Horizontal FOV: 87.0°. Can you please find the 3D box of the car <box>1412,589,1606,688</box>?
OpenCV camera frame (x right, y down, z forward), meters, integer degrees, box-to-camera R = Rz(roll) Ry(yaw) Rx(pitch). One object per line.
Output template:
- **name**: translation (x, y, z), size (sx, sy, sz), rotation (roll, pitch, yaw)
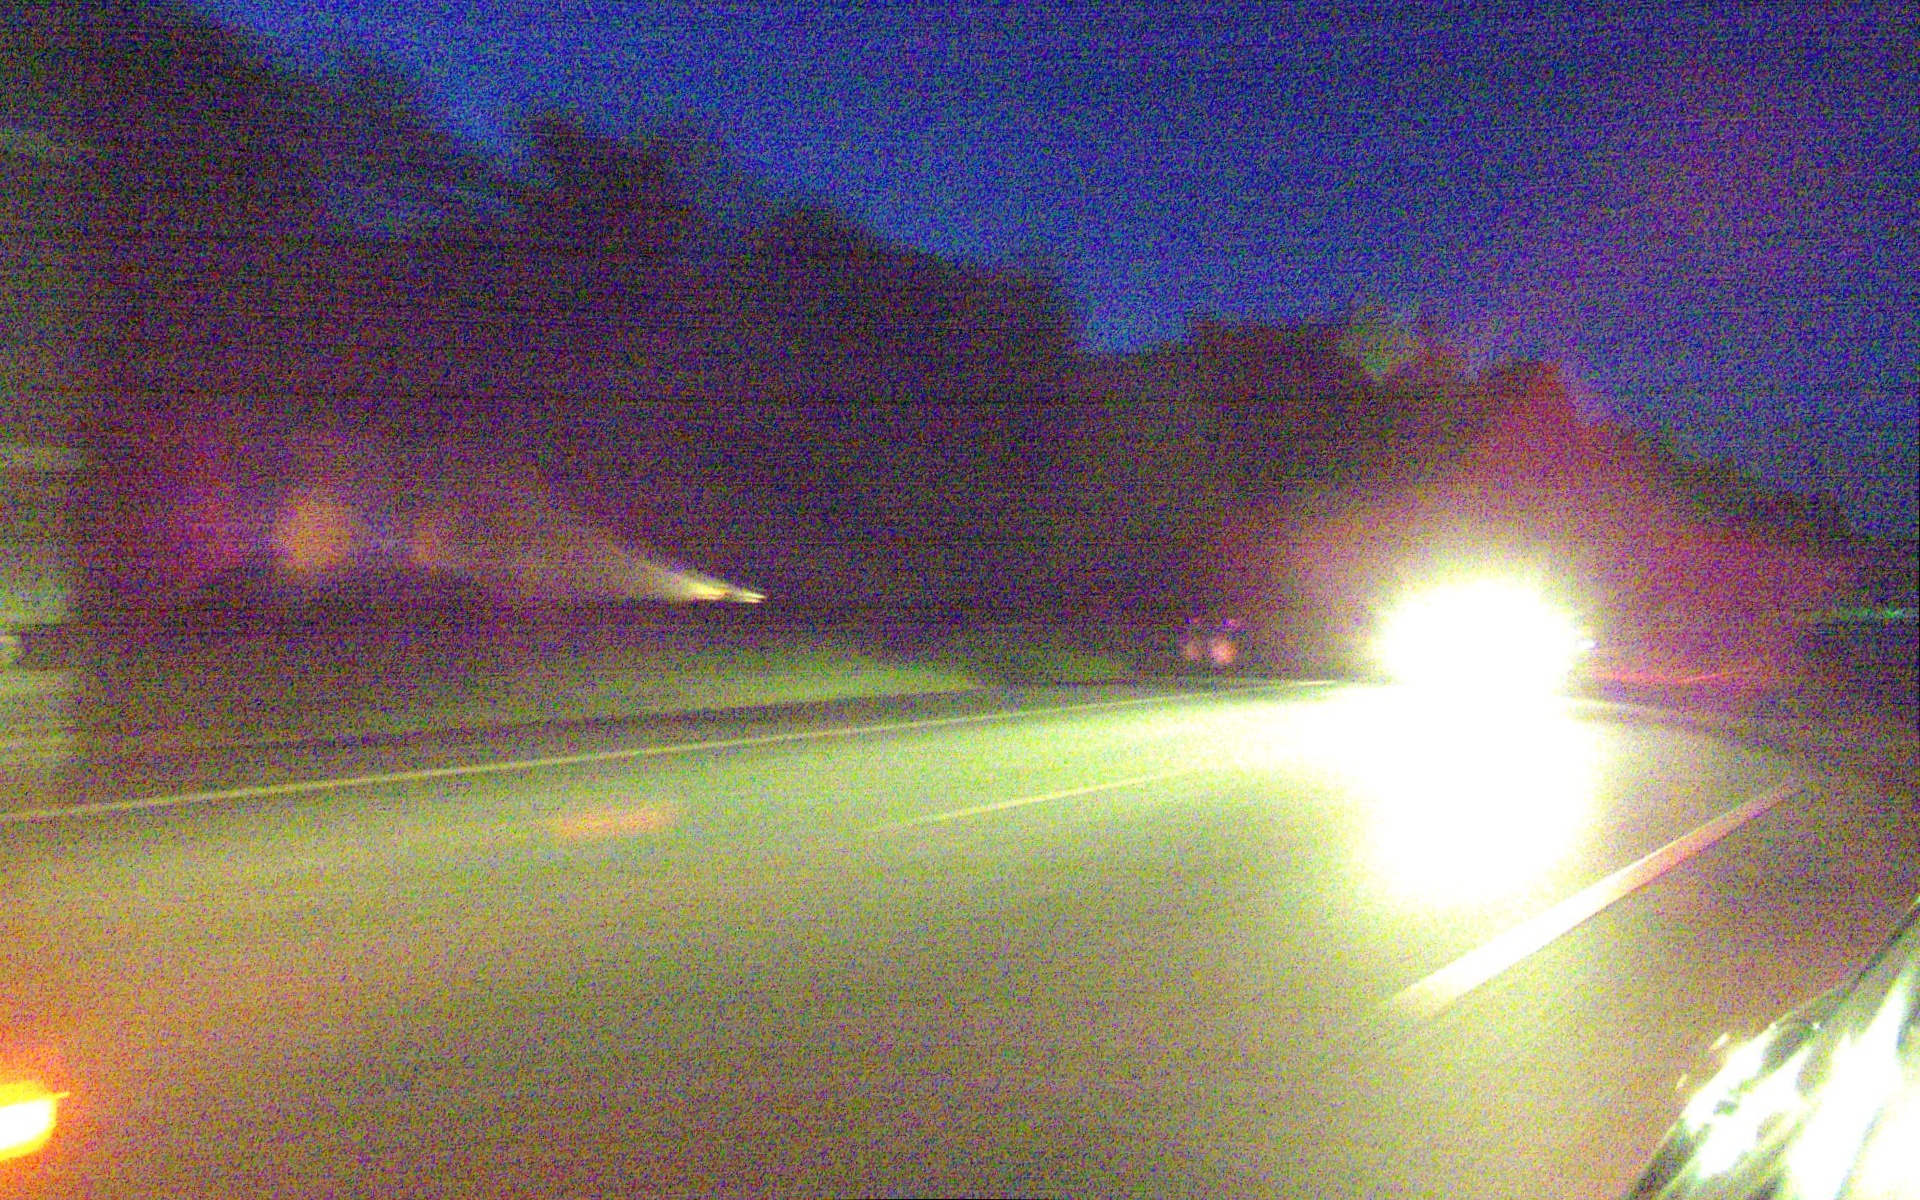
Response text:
- **car**: translation (9.724, 0.572, 17.774), size (4.177, 1.484, 1.823), rotation (-1, 2, -44)
